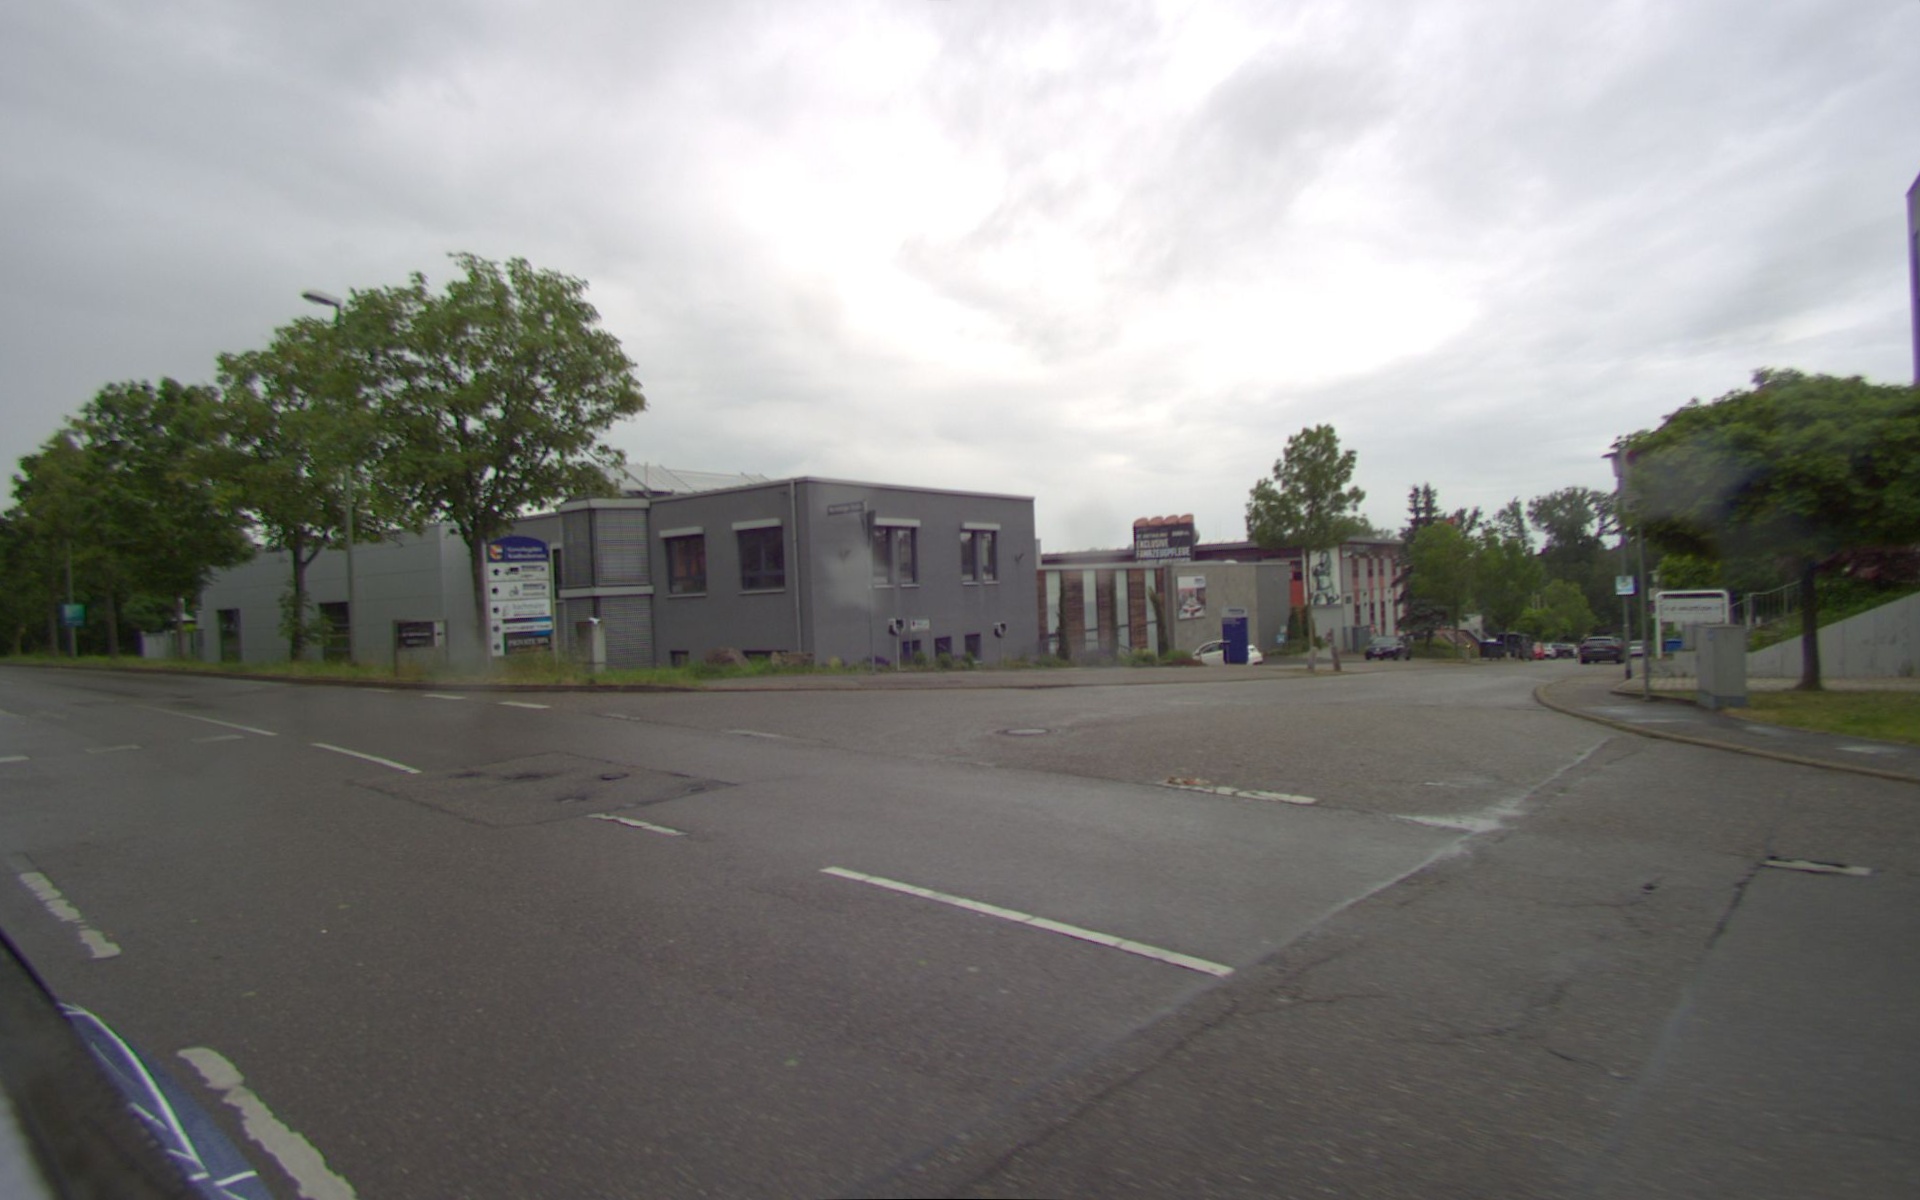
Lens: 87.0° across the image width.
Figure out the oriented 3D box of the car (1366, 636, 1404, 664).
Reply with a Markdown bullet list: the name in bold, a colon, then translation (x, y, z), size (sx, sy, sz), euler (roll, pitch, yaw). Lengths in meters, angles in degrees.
- **car**: translation (24.766, 2.899, 58.886), size (1.490, 1.533, 3.468), euler (-2, -2, 32)

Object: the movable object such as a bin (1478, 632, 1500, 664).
- **movable object such as a bin**: translation (36.086, 3.268, 69.025), size (1.111, 2.162, 1.246), euler (-2, -2, 35)

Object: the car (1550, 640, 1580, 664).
- **car**: translation (54.063, 4.595, 90.395), size (1.996, 2.029, 3.952), euler (-2, -2, 35)

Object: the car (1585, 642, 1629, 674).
- **car**: translation (34.836, 3.081, 54.434), size (1.806, 1.590, 3.952), euler (-2, -2, 35)

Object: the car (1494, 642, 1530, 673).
- **car**: translation (41.299, 4.274, 75.700), size (1.867, 2.162, 3.952), euler (-2, -2, 35)

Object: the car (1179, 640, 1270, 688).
- **car**: translation (11.135, 2.703, 42.710), size (3.196, 1.565, 1.489), euler (-13, -9, 36)

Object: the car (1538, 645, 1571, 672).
- **car**: translation (47.913, 4.701, 81.521), size (1.996, 2.029, 3.952), euler (-2, -2, 35)

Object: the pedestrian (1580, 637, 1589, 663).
- **pedestrian**: translation (38.109, 3.036, 61.732), size (0.407, 1.533, 0.417), euler (-2, -2, 32)

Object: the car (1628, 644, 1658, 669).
- **car**: translation (58.919, 4.849, 87.265), size (1.996, 2.029, 3.952), euler (-2, -2, 35)
